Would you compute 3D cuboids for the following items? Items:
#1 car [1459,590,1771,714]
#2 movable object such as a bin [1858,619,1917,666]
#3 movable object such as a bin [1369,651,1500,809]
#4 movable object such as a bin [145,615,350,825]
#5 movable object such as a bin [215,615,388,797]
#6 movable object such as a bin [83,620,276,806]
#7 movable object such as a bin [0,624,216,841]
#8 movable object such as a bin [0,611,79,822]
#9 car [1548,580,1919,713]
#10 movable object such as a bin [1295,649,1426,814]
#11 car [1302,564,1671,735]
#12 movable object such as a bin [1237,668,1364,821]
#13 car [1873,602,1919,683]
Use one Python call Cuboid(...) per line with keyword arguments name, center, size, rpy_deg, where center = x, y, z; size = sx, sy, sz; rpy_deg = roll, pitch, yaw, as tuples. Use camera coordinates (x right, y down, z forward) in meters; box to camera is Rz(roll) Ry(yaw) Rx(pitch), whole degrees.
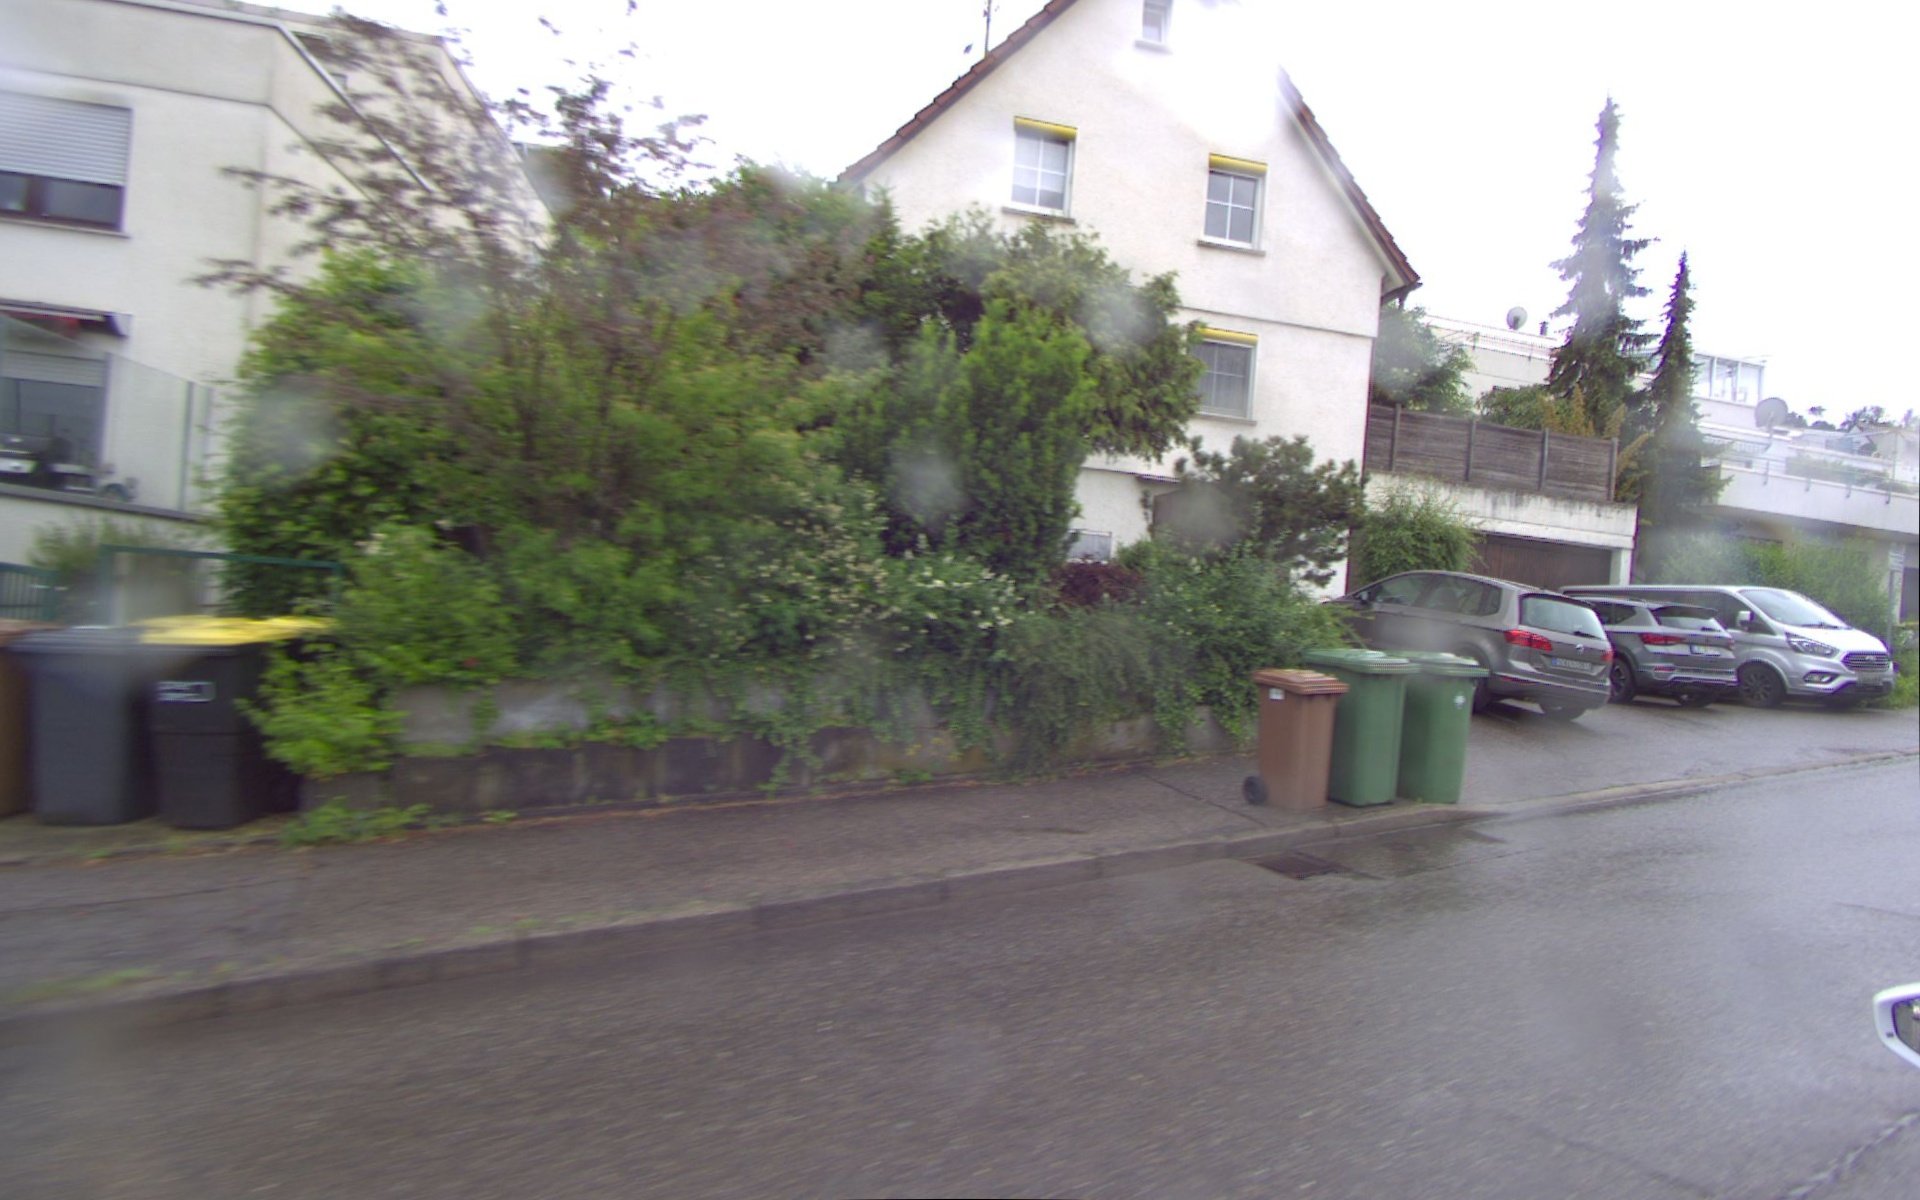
Cuboid(name="car", center=(10.425, 0.739, 16.414), size=(1.861, 1.660, 4.057), rpy_deg=(2, 1, -13))
Cuboid(name="movable object such as a bin", center=(23.939, 1.092, 25.946), size=(0.753, 1.085, 0.725), rpy_deg=(3, 4, -12))
Cuboid(name="movable object such as a bin", center=(3.571, 0.945, 7.565), size=(0.691, 1.078, 0.598), rpy_deg=(1, 1, -34))
Cuboid(name="movable object such as a bin", center=(-3.992, 0.643, 5.691), size=(0.697, 1.097, 0.698), rpy_deg=(1, 0, -11))
Cuboid(name="movable object such as a bin", center=(-4.221, 0.654, 6.490), size=(0.697, 1.097, 0.698), rpy_deg=(1, 0, -11))
Cuboid(name="movable object such as a bin", center=(-4.899, 0.683, 6.357), size=(0.697, 1.097, 0.698), rpy_deg=(1, 0, -11))
Cuboid(name="movable object such as a bin", center=(-4.703, 0.693, 5.546), size=(0.697, 1.097, 0.698), rpy_deg=(1, 0, -11))
Cuboid(name="movable object such as a bin", center=(-5.396, 0.607, 5.408), size=(0.697, 1.097, 0.698), rpy_deg=(1, 0, -11))
Cuboid(name="car", center=(13.210, 0.740, 17.587), size=(2.105, 1.970, 5.088), rpy_deg=(1, -1, -13))
Cuboid(name="movable object such as a bin", center=(2.895, 0.917, 7.268), size=(0.632, 1.078, 0.598), rpy_deg=(1, 1, -34))
Cuboid(name="car", center=(6.509, 0.497, 13.015), size=(1.863, 1.715, 4.053), rpy_deg=(2, 3, -16))
Cuboid(name="movable object such as a bin", center=(2.353, 0.969, 6.960), size=(0.558, 0.941, 0.598), rpy_deg=(1, 1, -34))
Cuboid(name="car", center=(21.811, 0.978, 21.635), size=(4.143, 1.610, 1.682), rpy_deg=(1, 6, -27))
